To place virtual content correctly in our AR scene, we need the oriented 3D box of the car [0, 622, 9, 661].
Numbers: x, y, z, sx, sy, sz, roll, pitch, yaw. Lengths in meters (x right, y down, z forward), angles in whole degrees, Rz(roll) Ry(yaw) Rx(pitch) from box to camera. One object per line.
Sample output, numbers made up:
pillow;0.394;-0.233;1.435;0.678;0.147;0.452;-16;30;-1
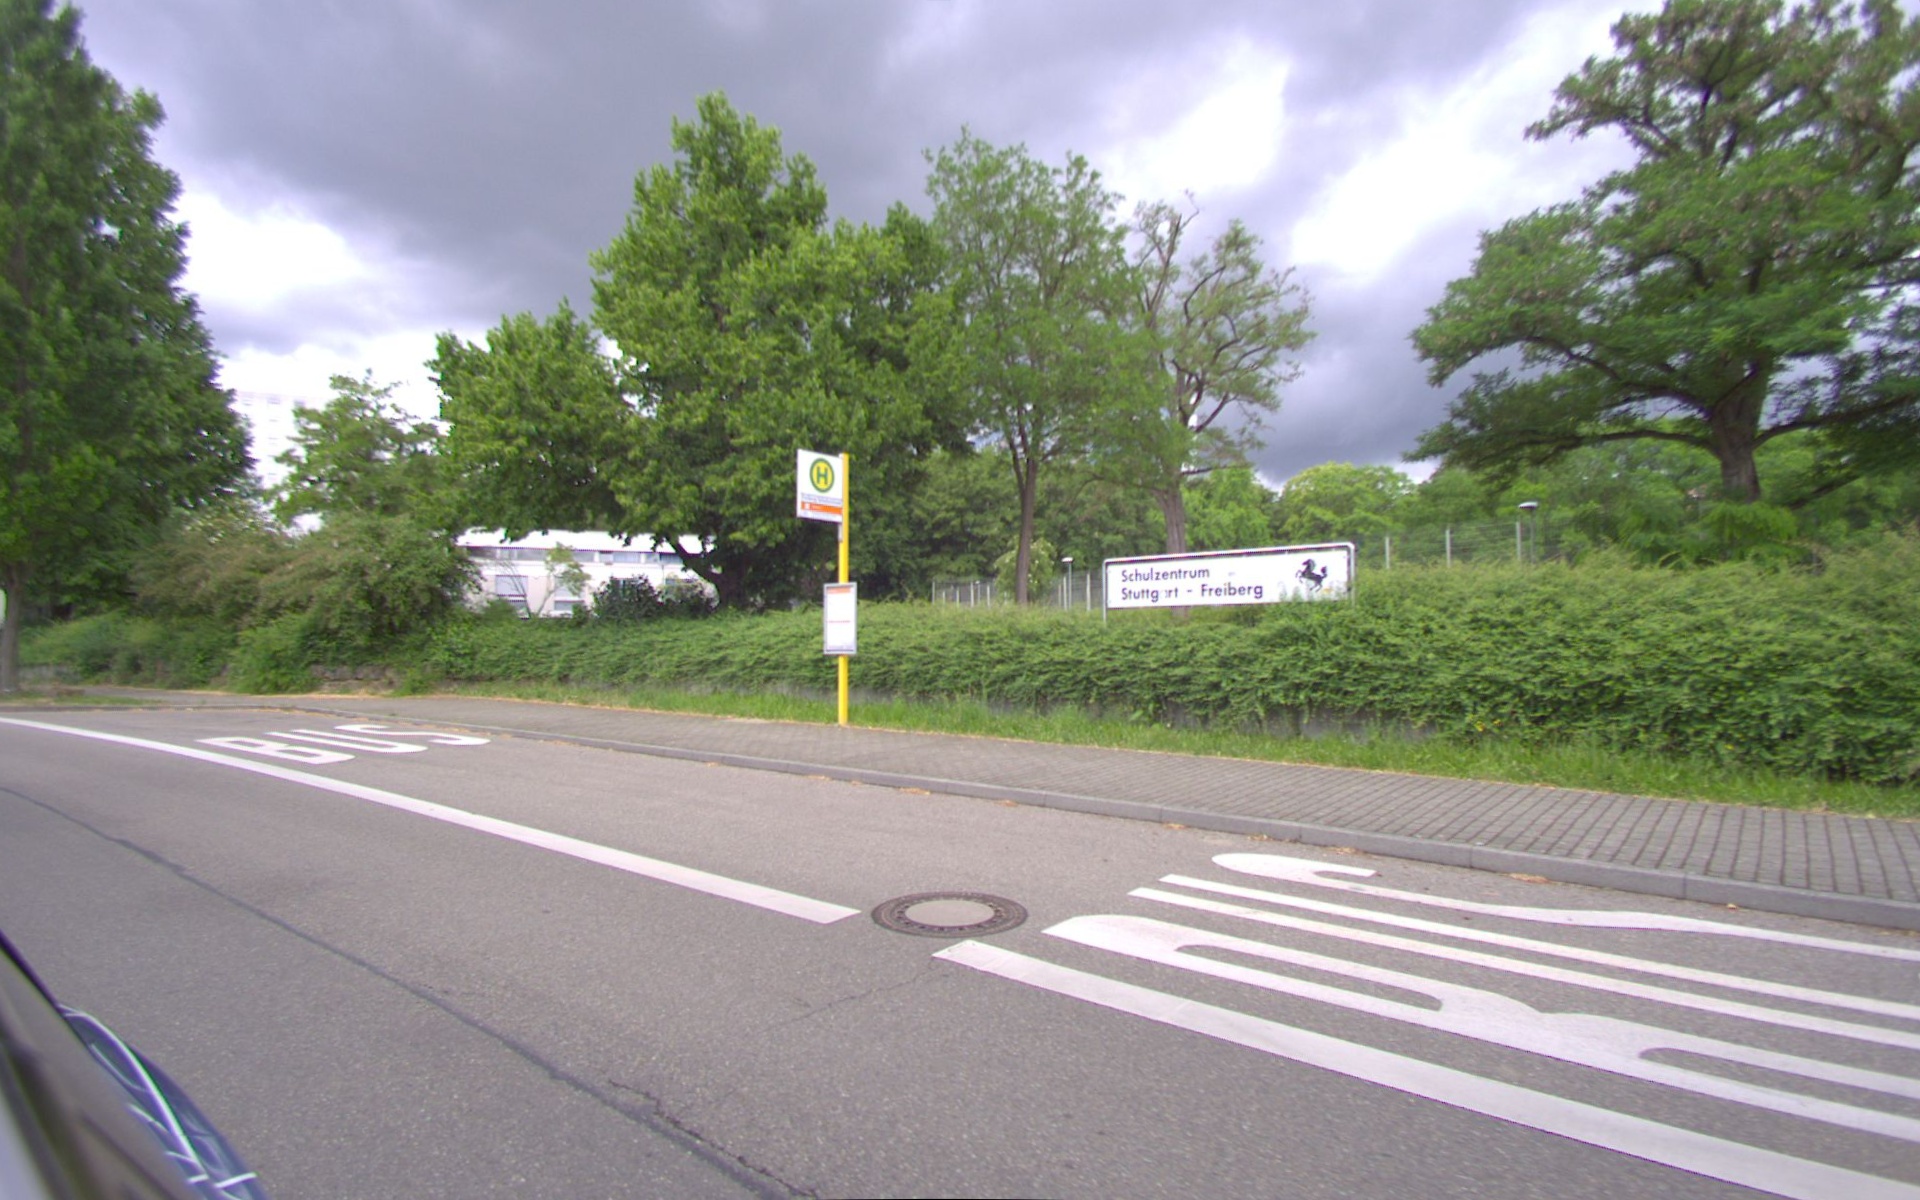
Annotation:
car;-42.233;1.787;41.845;3.746;1.650;2.006;-1;0;-18
